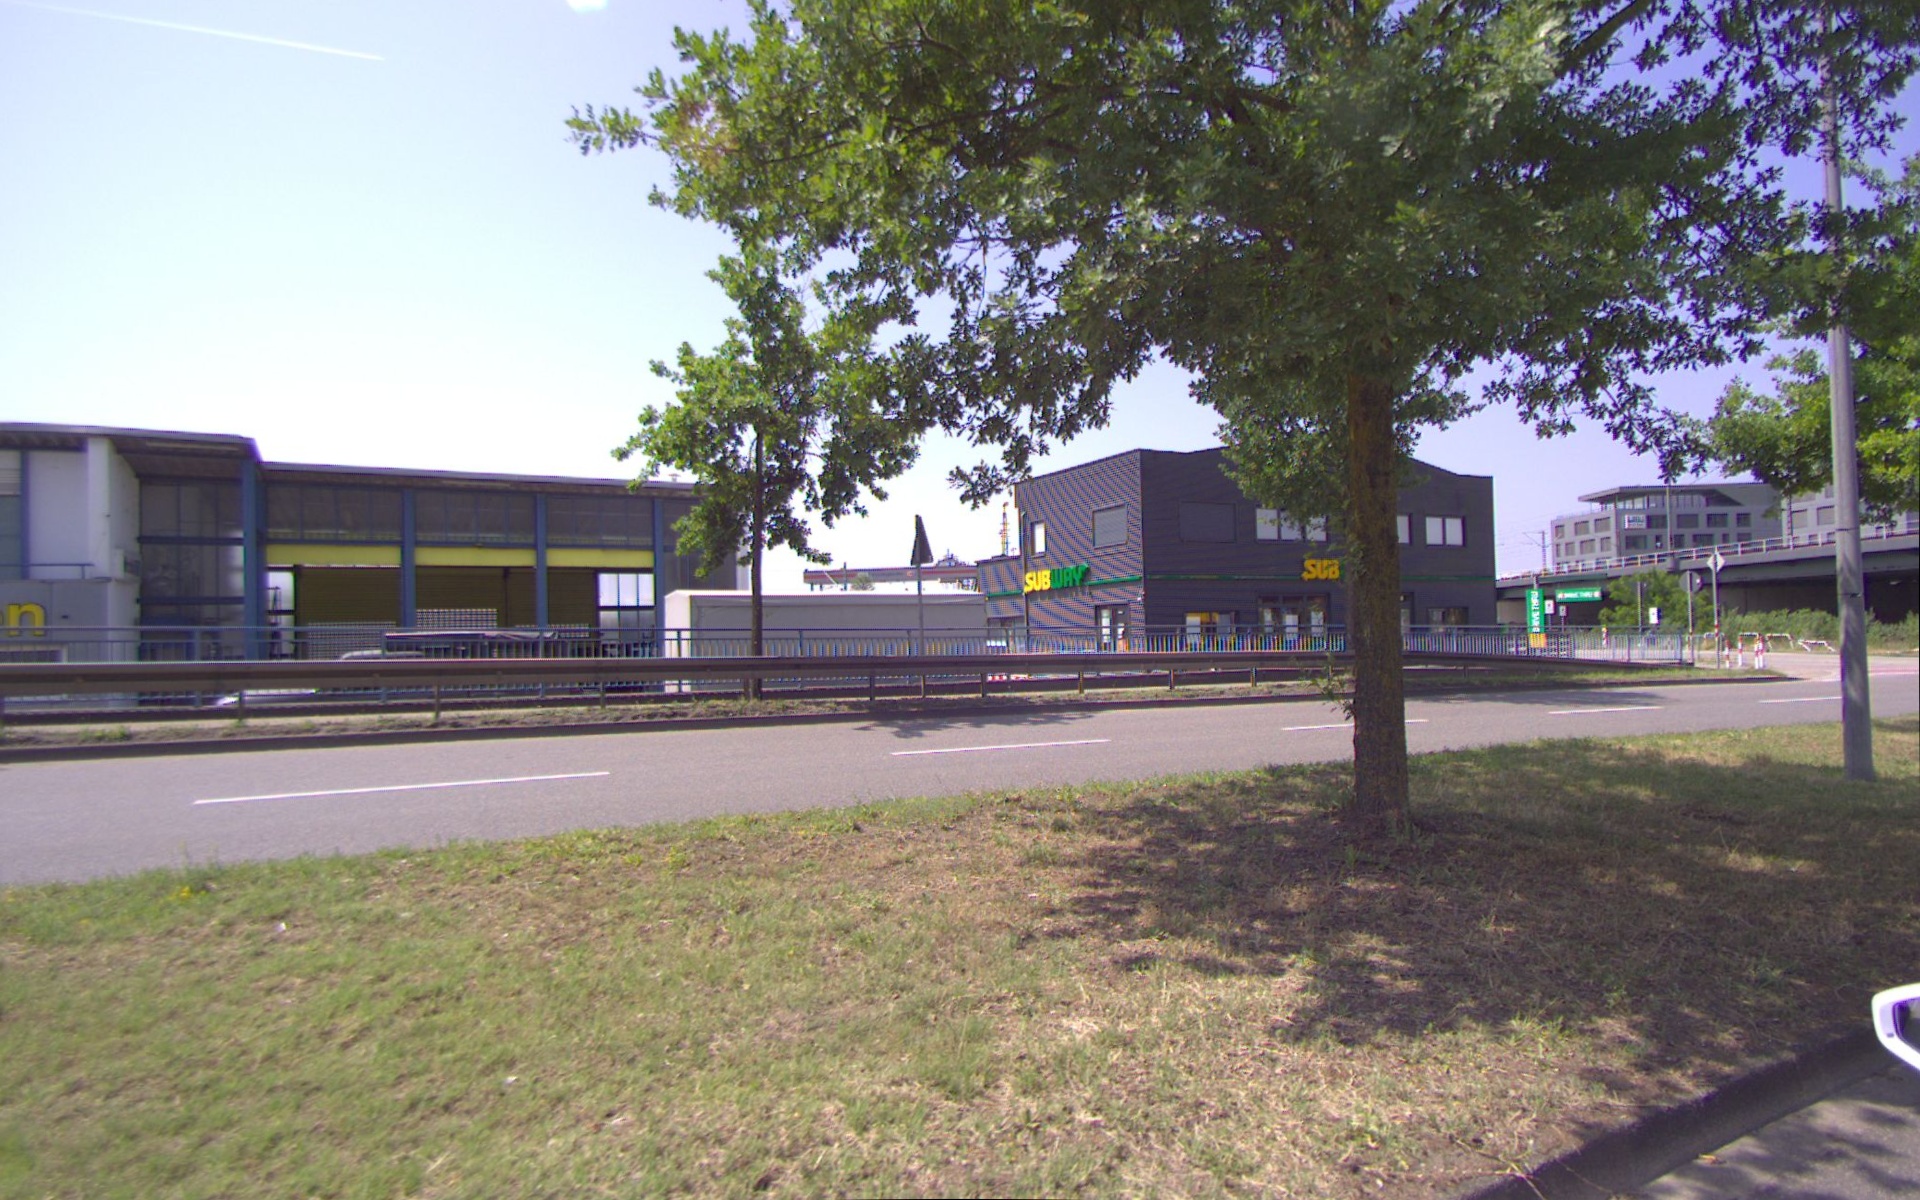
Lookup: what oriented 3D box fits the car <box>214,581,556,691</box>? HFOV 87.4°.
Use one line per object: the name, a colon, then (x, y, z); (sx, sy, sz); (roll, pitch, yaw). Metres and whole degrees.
car: (-9.167, 0.634, 16.428); (4.582, 1.589, 1.890); (2, -4, -28)
